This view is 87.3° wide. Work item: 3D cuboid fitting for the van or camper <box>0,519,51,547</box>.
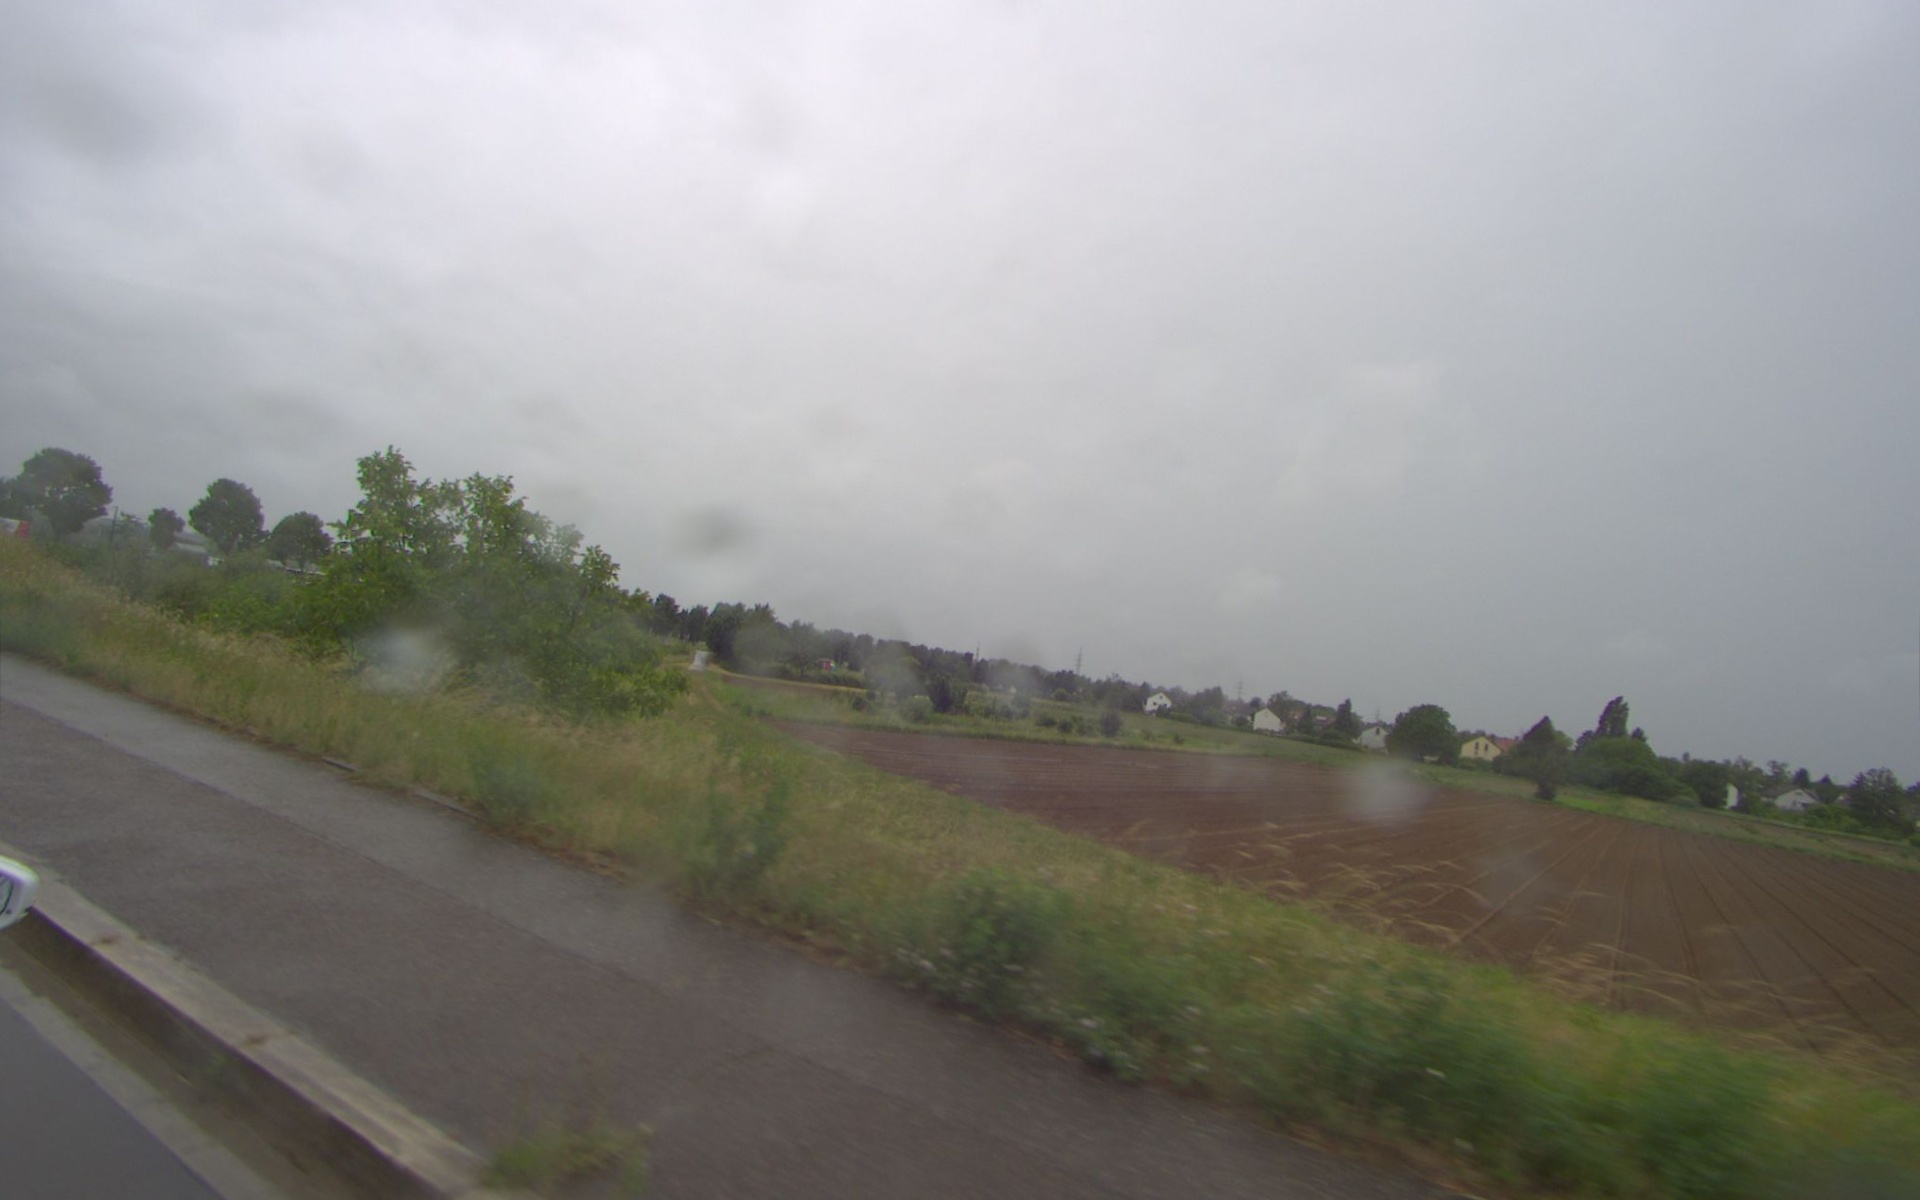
[{"bbox_3d":[-117.485,-8.385,126.214,1.990,2.378,4.681,6,-7,44],"label":"van or camper"}]
